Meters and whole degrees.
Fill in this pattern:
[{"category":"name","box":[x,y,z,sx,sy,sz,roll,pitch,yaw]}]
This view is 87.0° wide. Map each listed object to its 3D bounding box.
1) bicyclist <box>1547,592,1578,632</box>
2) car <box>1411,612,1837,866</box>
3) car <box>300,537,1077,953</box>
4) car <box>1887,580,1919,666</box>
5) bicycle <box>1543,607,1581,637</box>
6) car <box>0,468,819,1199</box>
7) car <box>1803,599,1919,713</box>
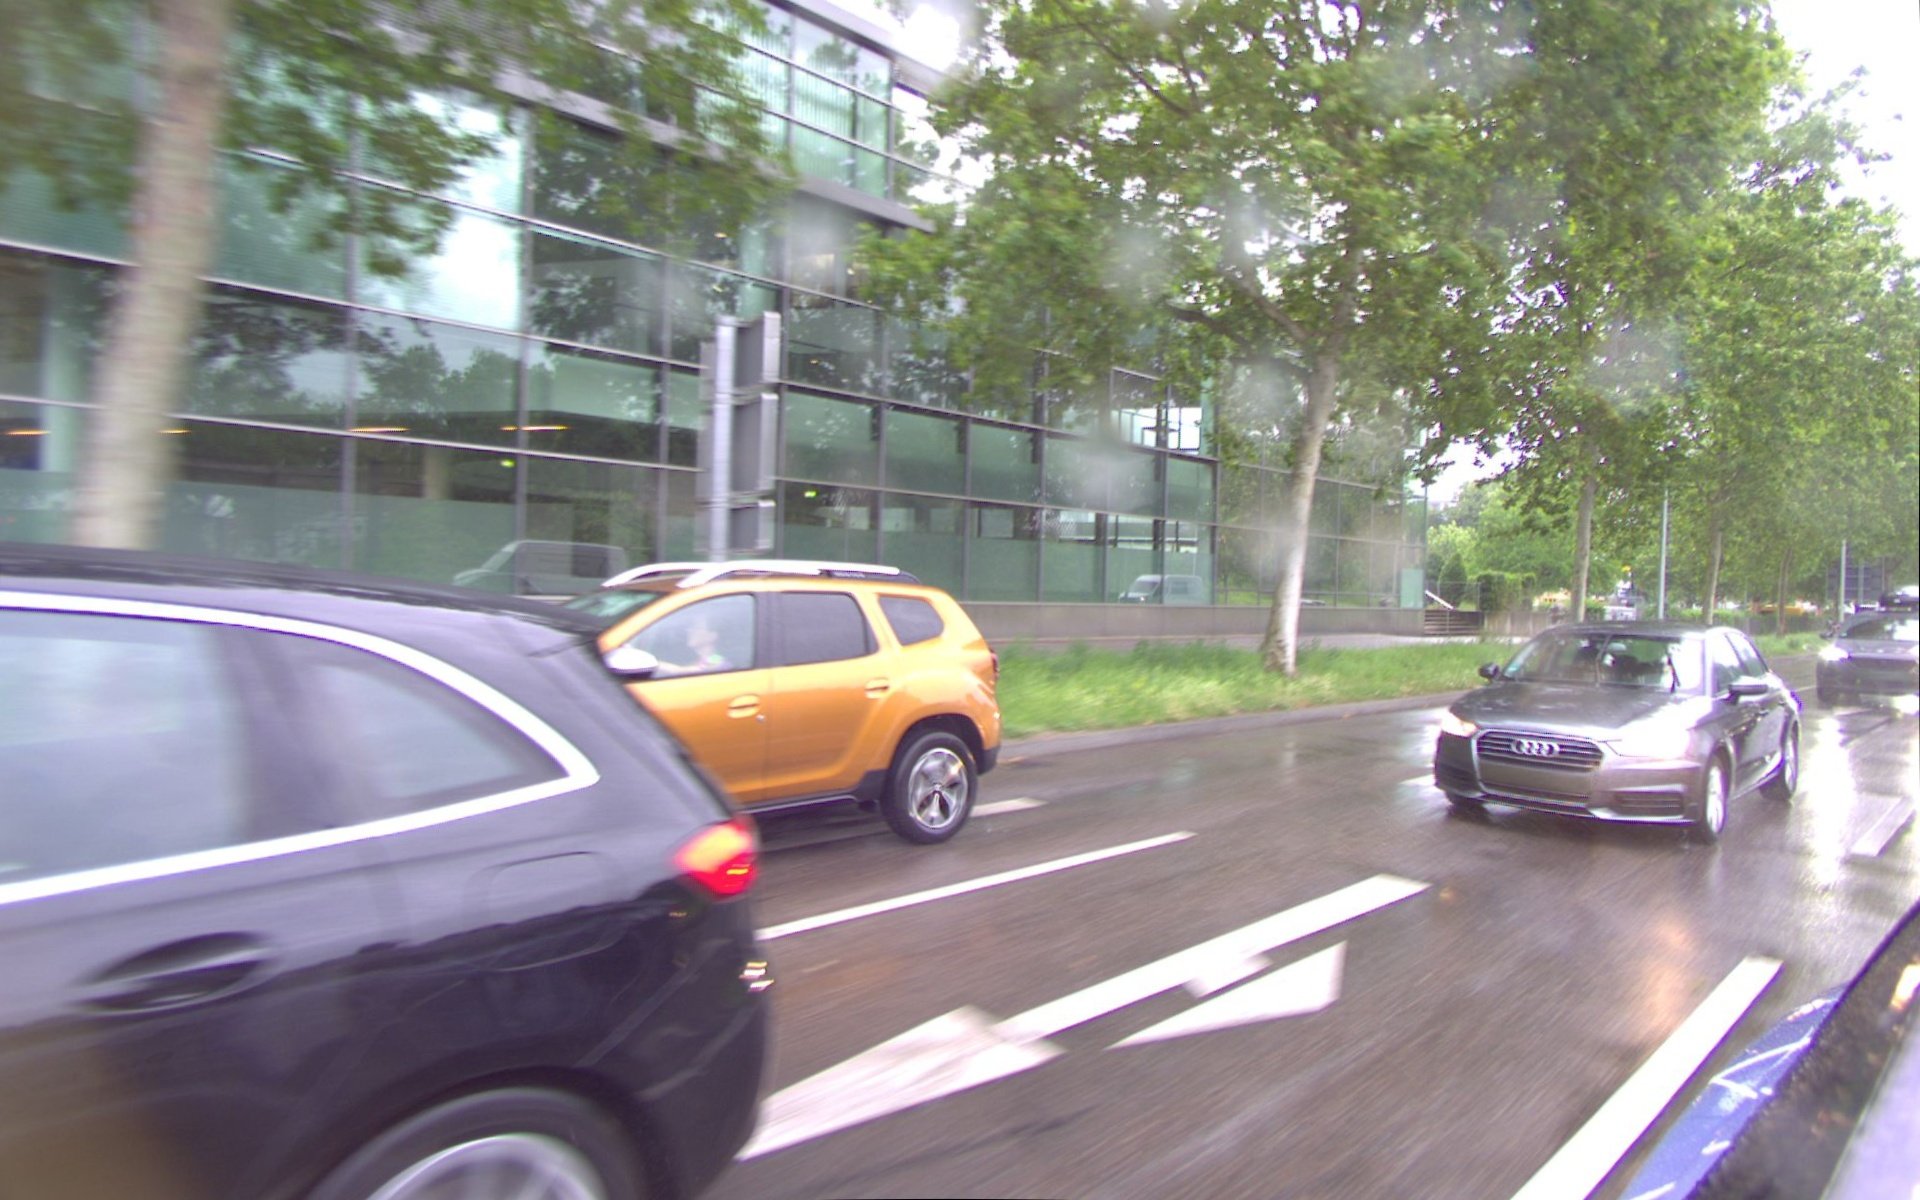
[{"category":"bicyclist","box":[24.078,0.472,40.445,0.740,1.533,0.806,0,4,-44]},{"category":"car","box":[5.169,0.818,7.705,3.688,1.416,1.839,1,0,-42]},{"category":"car","box":[-1.388,0.563,6.103,4.098,1.652,1.903,1,1,-42]},{"category":"car","box":[29.670,0.697,30.513,4.892,2.461,1.997,1,1,-42]},{"category":"bicycle","box":[24.064,0.858,40.454,2.042,1.118,0.744,1,3,-44]},{"category":"car","box":[-2.412,0.571,1.384,4.016,1.542,1.874,1,1,-41]},{"category":"car","box":[16.605,0.918,17.884,4.253,1.770,1.997,1,1,-42]}]
